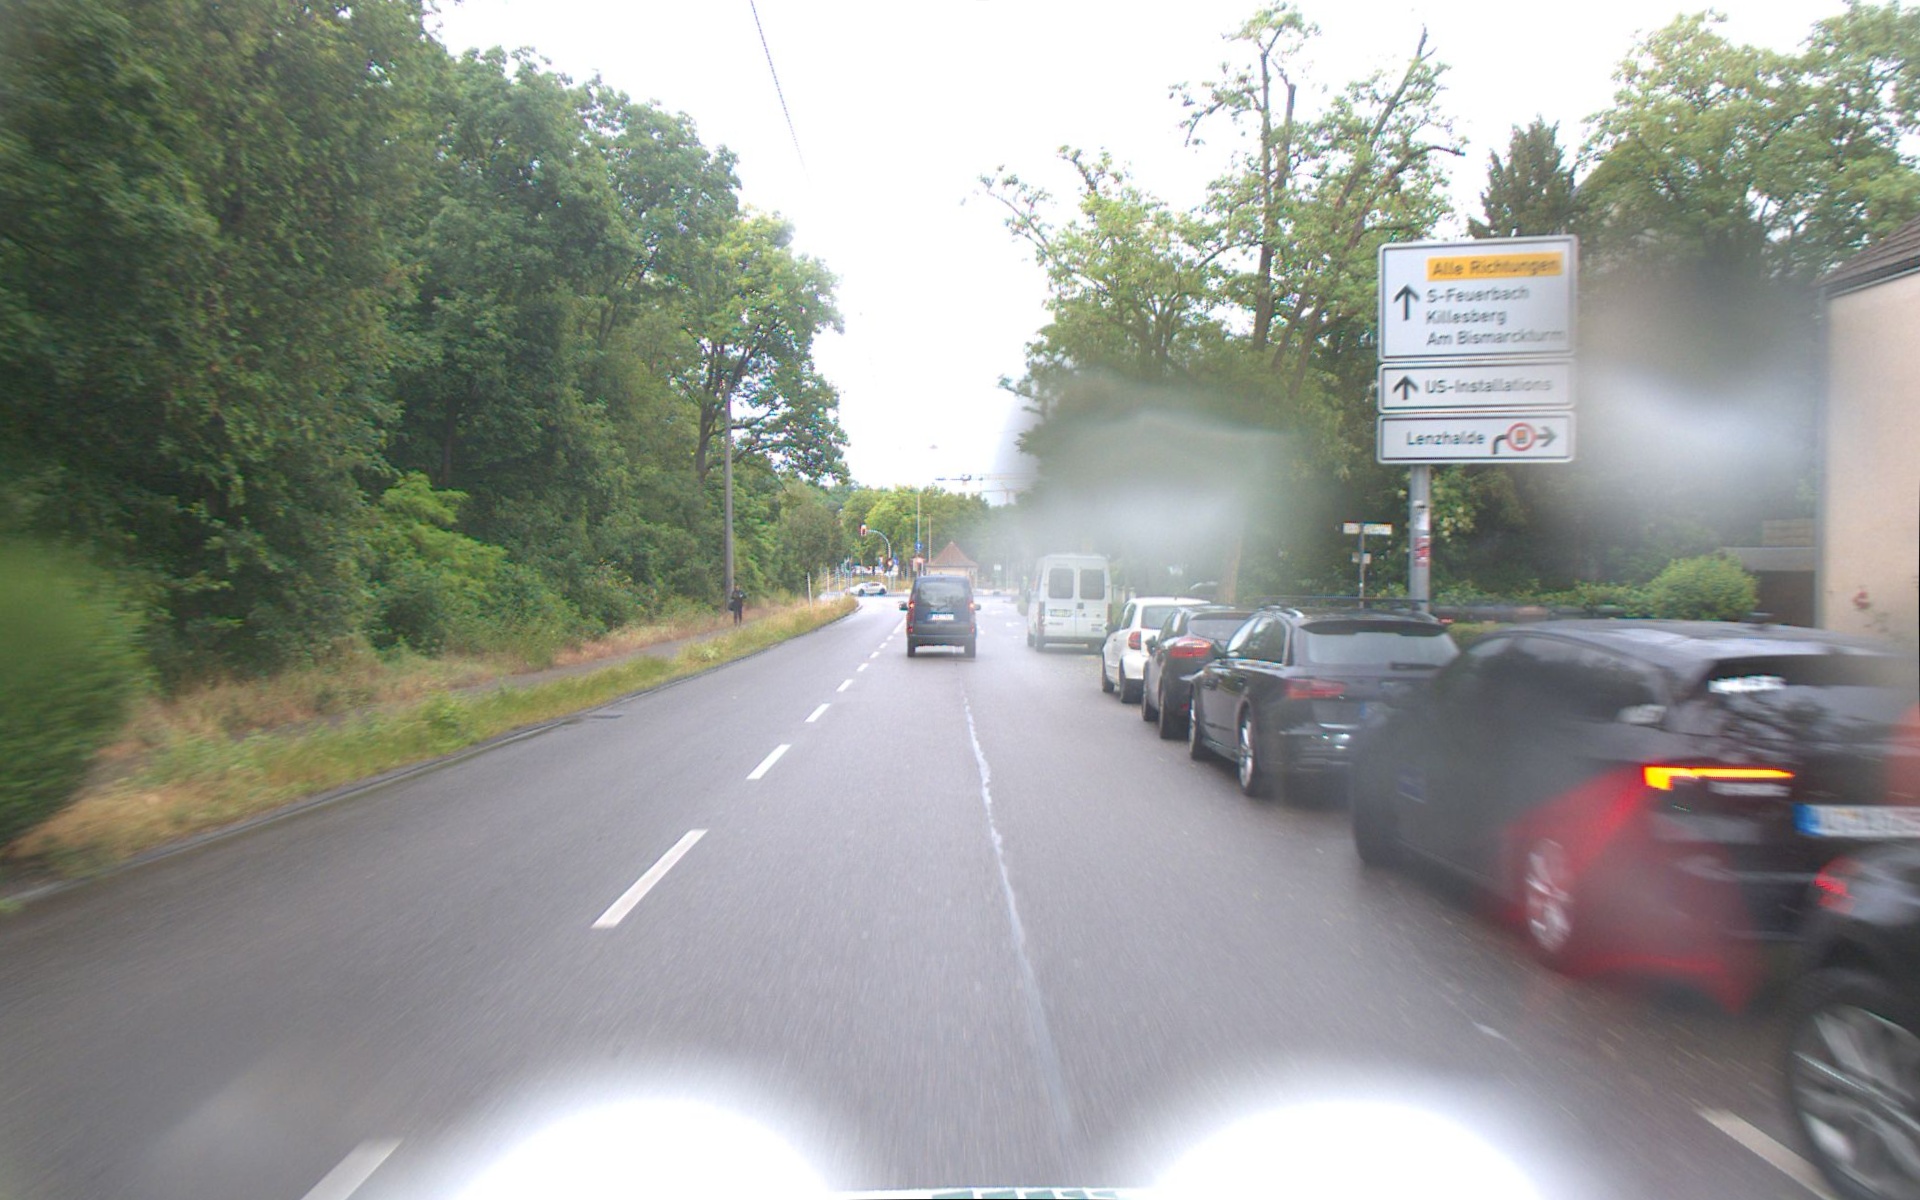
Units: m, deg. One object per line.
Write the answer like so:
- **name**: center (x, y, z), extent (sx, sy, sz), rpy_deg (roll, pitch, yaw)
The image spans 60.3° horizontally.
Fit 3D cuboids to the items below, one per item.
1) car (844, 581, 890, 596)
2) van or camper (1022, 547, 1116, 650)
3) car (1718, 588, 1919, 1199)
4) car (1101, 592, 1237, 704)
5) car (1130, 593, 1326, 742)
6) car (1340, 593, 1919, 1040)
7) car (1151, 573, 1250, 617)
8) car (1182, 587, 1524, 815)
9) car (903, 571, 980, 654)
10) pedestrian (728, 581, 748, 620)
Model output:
- **car**: center (-9.518, -1.215, 169.465), extent (4.291, 1.334, 1.984), rpy_deg (-3, 1, -25)
- **van or camper**: center (2.859, -0.078, 44.665), extent (1.996, 2.522, 5.637), rpy_deg (2, 1, -1)
- **car**: center (3.013, 0.725, 2.836), extent (1.693, 1.435, 4.001), rpy_deg (2, 1, 2)
- **car**: center (3.091, 0.667, 25.083), extent (1.539, 1.498, 3.765), rpy_deg (2, 1, 0)
- **car**: center (3.008, 0.699, 19.264), extent (1.584, 1.496, 3.944), rpy_deg (2, 1, 0)
- **car**: center (3.198, 0.749, 7.919), extent (1.585, 1.494, 4.409), rpy_deg (2, 1, -2)
- **car**: center (10.553, -0.233, 72.406), extent (4.212, 1.849, 1.876), rpy_deg (1, 1, 10)
- **car**: center (3.102, 0.698, 14.108), extent (1.717, 1.553, 4.823), rpy_deg (2, 1, 0)
- **car**: center (-0.434, 0.251, 39.170), extent (1.696, 1.817, 4.000), rpy_deg (1, 1, -1)
- **pedestrian**: center (-9.296, 0.013, 69.238), extent (0.765, 1.636, 0.732), rpy_deg (0, 0, -2)
